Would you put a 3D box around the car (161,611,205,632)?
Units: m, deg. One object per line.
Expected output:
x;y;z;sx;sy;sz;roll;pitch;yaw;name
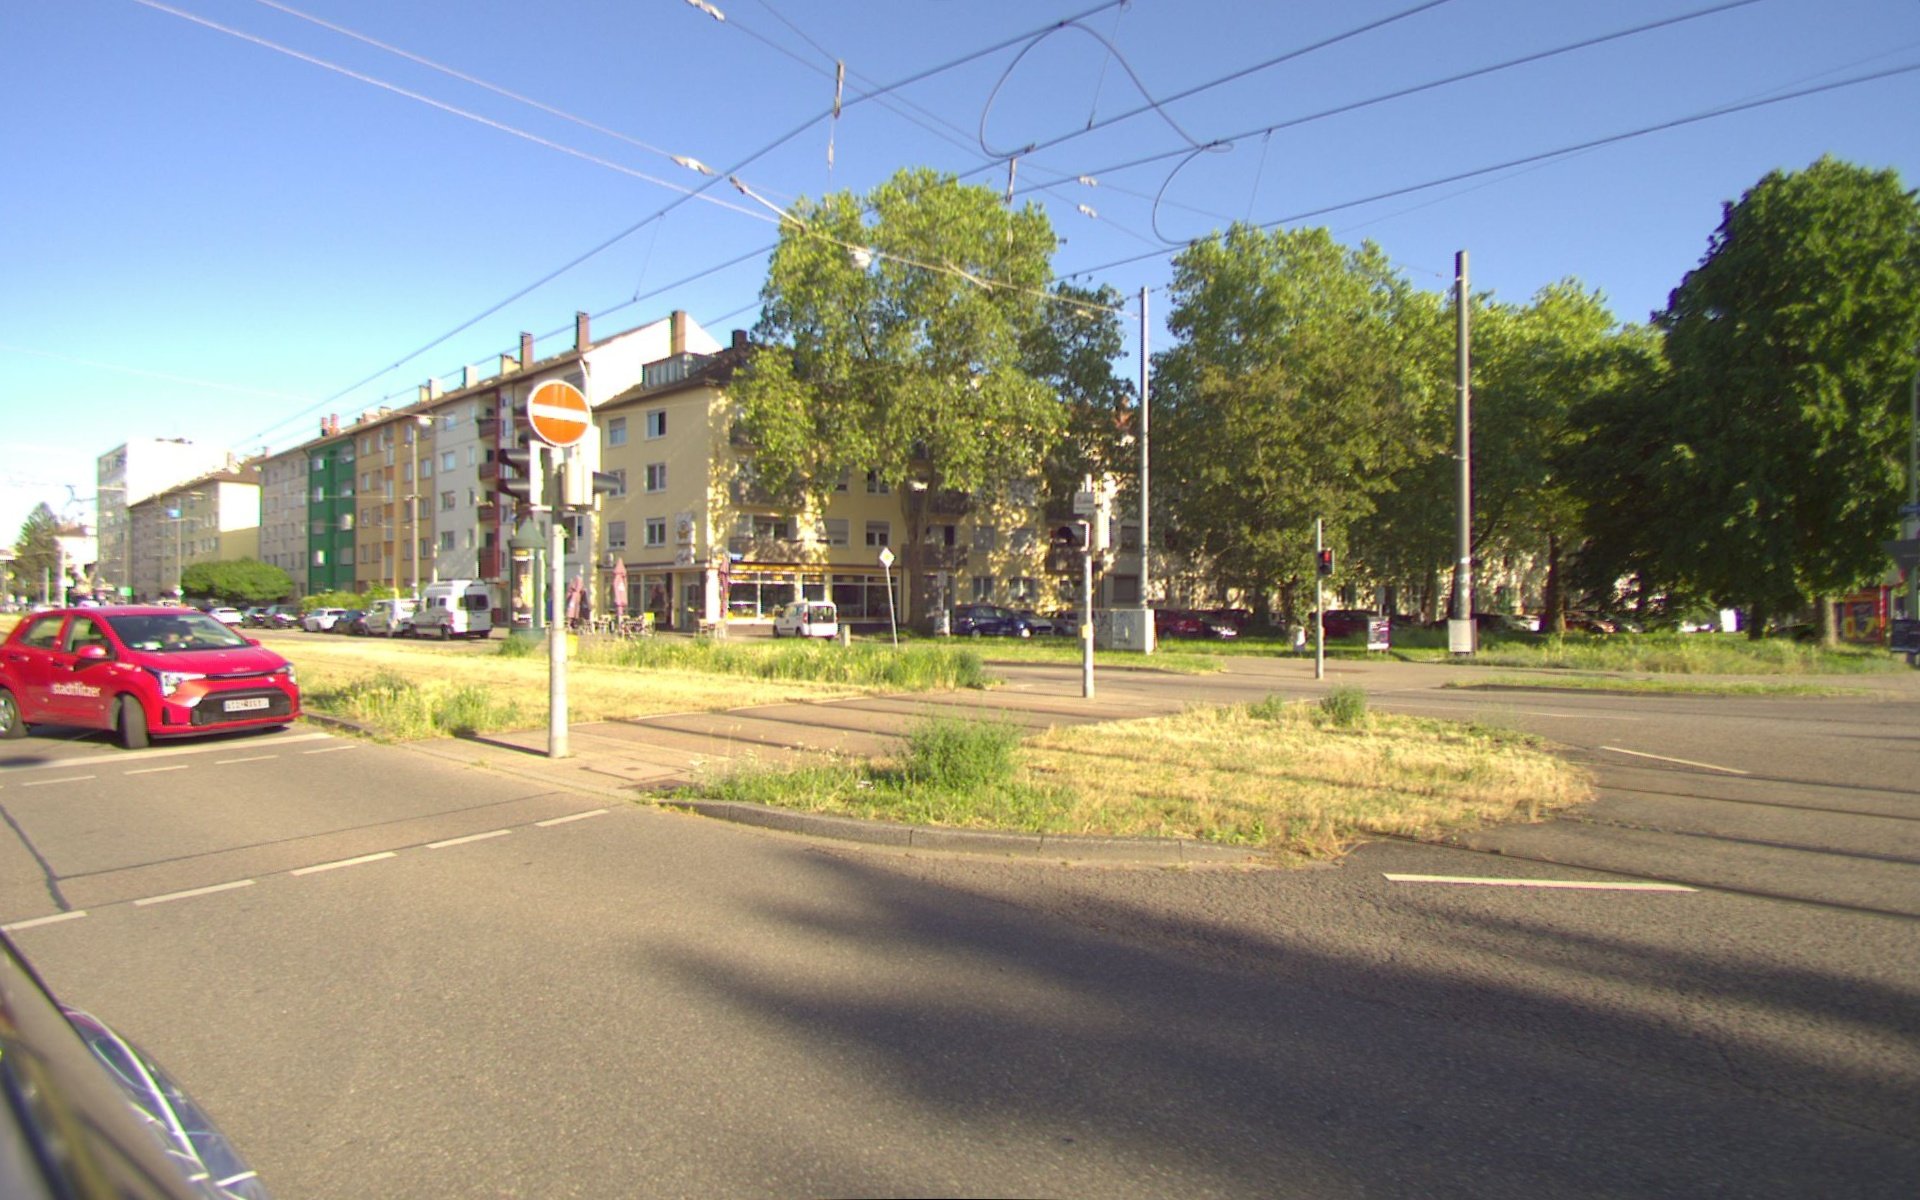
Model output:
-67.485;1.839;87.876;5.401;1.720;2.116;-1;-1;42;car

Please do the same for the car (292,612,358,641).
-39.008;1.581;62.155;5.156;1.720;2.116;-1;-1;42;car

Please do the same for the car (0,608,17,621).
-133.490;1.998;141.421;5.401;1.720;2.116;-1;-1;42;car

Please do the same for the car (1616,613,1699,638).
44.250;1.588;64.251;1.967;1.564;3.943;0;-1;-37;car

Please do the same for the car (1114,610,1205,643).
8.625;1.118;43.966;1.616;1.318;4.012;1;0;-31;car

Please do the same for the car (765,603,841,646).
-7.402;1.115;47.591;1.881;1.896;4.009;0;-1;-37;car

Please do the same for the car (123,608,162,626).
-79.045;1.632;97.859;5.401;1.720;2.116;-1;-1;42;car

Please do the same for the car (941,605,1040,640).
1.326;0.980;43.936;3.930;1.448;1.723;1;0;-25;car

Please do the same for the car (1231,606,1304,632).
19.156;1.165;63.152;1.967;1.564;3.943;0;-1;-37;car

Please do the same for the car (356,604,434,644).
-30.257;1.227;54.166;5.156;2.049;2.116;-1;-1;42;car

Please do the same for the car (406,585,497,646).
-24.792;0.742;49.277;5.228;2.846;2.201;-1;-1;42;car

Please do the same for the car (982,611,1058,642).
3.128;1.380;53.322;1.967;1.564;3.943;0;-1;-37;car

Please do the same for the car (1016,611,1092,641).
5.023;1.354;54.521;1.967;1.564;3.943;0;-1;-37;car

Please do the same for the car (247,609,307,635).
-46.334;1.447;68.633;5.444;1.720;2.116;-1;-1;42;car

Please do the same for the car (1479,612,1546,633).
41.550;1.671;76.125;1.967;1.564;3.943;0;-1;-37;car

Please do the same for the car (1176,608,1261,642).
13.477;1.258;52.920;1.967;1.718;3.943;0;-1;-37;car

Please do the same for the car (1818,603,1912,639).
52.350;1.184;58.624;3.998;2.029;1.973;-1;0;41;car

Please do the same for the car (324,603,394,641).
-34.613;1.231;58.243;4.863;2.049;2.116;-1;-1;42;car

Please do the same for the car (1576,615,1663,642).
39.311;1.658;60.403;1.967;1.564;3.943;0;-1;-37;car

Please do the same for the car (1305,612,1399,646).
19.468;1.406;50.357;1.967;1.564;3.943;0;-1;-37;car

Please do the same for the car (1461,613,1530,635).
39.117;1.706;73.992;1.967;1.564;3.943;0;-1;-37;car

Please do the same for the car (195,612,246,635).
-57.790;1.788;79.049;5.444;1.720;2.116;-1;-1;42;car

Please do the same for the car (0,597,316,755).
-9.283;0.762;11.480;3.578;1.542;1.533;0;1;22;car

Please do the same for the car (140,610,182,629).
-72.769;1.739;92.147;5.401;1.720;2.116;-1;-1;42;car

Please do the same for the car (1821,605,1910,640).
55.410;1.372;62.039;3.998;2.029;1.973;-1;0;41;car

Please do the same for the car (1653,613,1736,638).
48.211;1.664;66.477;1.966;1.564;3.946;0;-1;-30;car
